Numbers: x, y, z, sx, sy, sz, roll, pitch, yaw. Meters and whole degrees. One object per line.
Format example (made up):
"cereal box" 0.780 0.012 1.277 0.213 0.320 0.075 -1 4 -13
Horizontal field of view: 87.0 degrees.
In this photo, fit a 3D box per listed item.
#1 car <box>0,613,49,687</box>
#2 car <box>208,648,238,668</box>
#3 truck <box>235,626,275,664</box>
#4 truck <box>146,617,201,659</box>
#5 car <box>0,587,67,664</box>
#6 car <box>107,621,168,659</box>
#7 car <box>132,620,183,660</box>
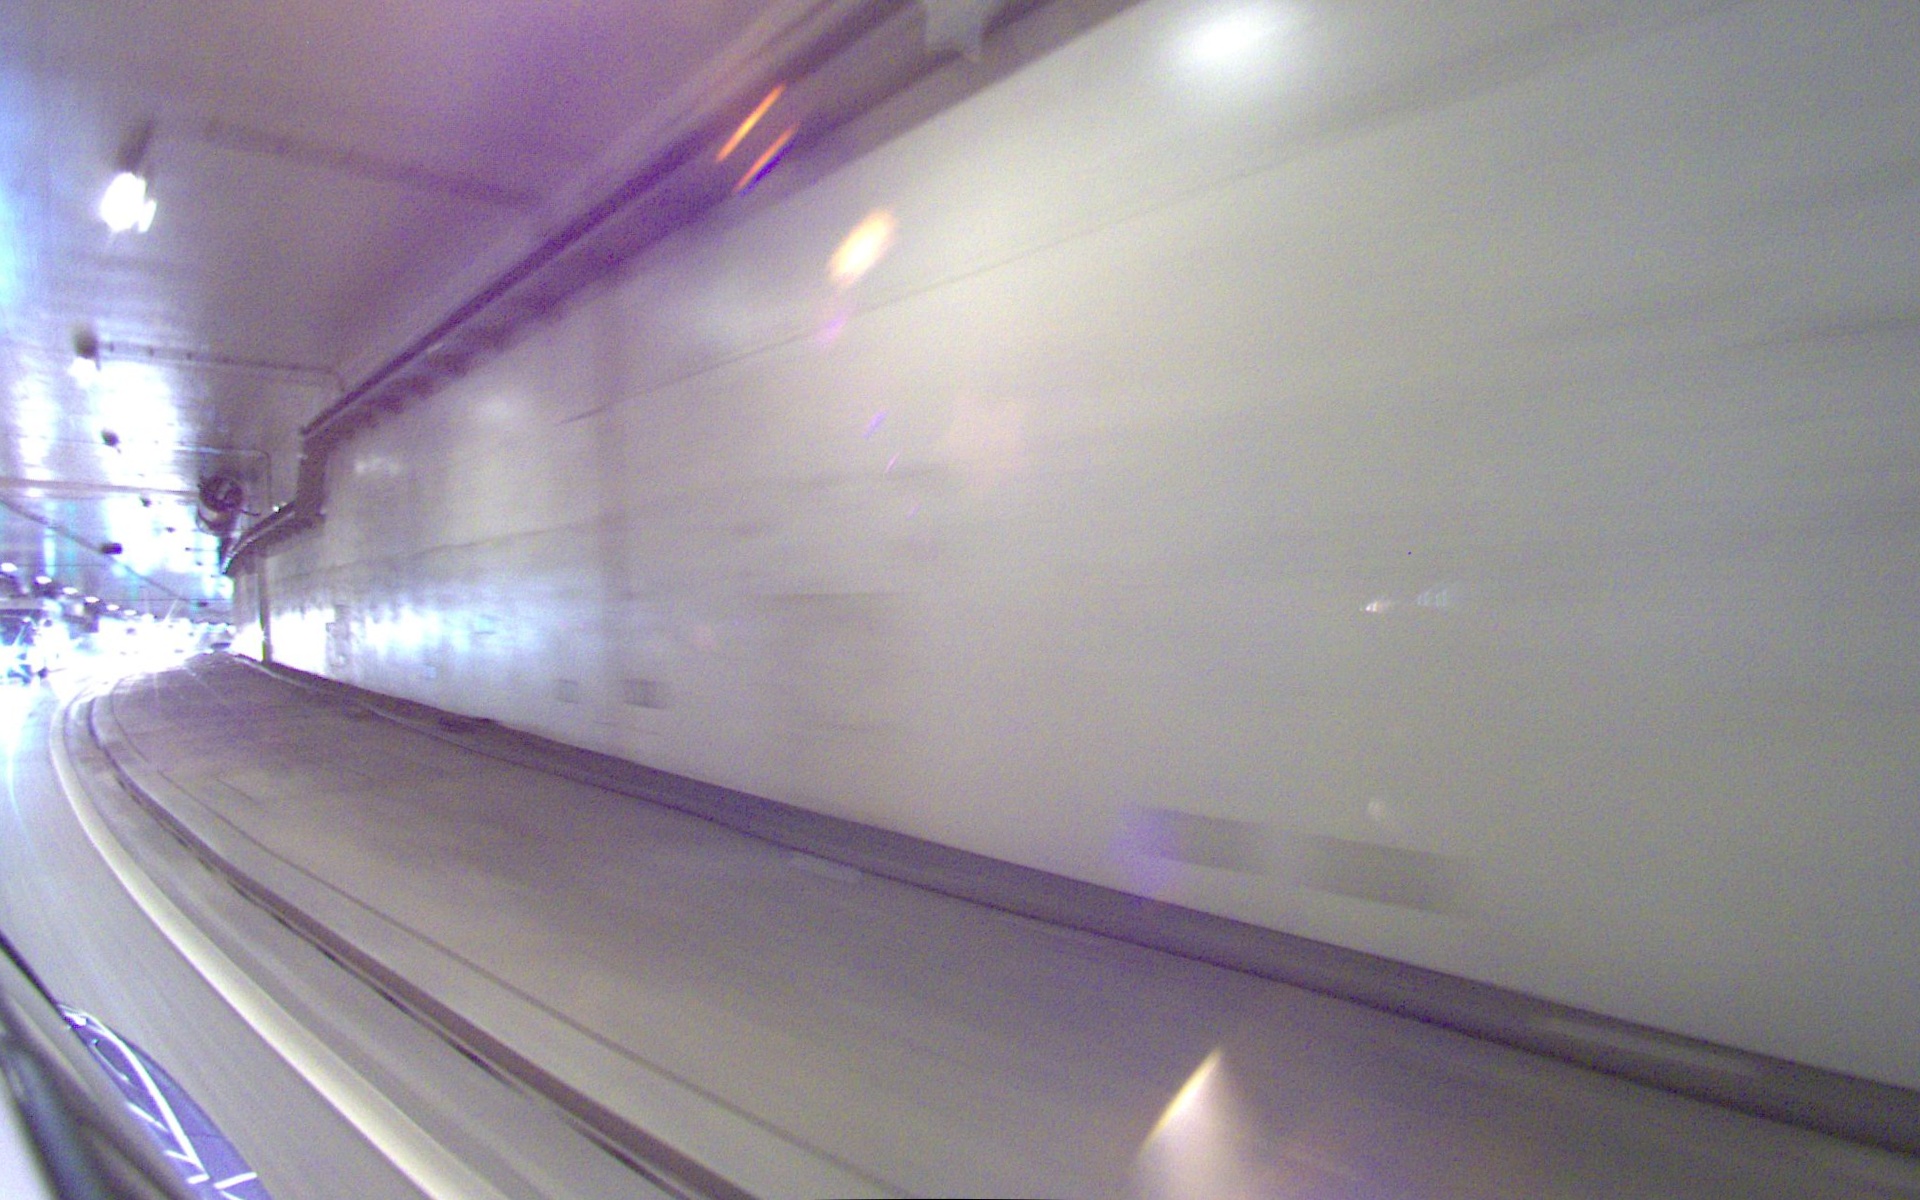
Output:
"car" -21.842 1.119 22.801 1.614 1.573 3.724 0 -1 -37
"car" -72.619 5.715 99.746 1.919 1.545 4.012 -5 3 -31
"truck" -94.111 5.929 135.249 2.840 4.505 10.488 -4 2 -27
"truck" -54.848 2.569 70.671 2.040 2.558 6.043 -4 2 -29
"car" -39.740 1.168 42.915 2.073 2.869 6.876 -1 -4 -36
"car" -38.735 1.862 47.748 1.736 1.572 3.829 -4 1 -33
"car" -45.933 2.316 58.014 1.905 1.944 4.207 -3 -3 -34
